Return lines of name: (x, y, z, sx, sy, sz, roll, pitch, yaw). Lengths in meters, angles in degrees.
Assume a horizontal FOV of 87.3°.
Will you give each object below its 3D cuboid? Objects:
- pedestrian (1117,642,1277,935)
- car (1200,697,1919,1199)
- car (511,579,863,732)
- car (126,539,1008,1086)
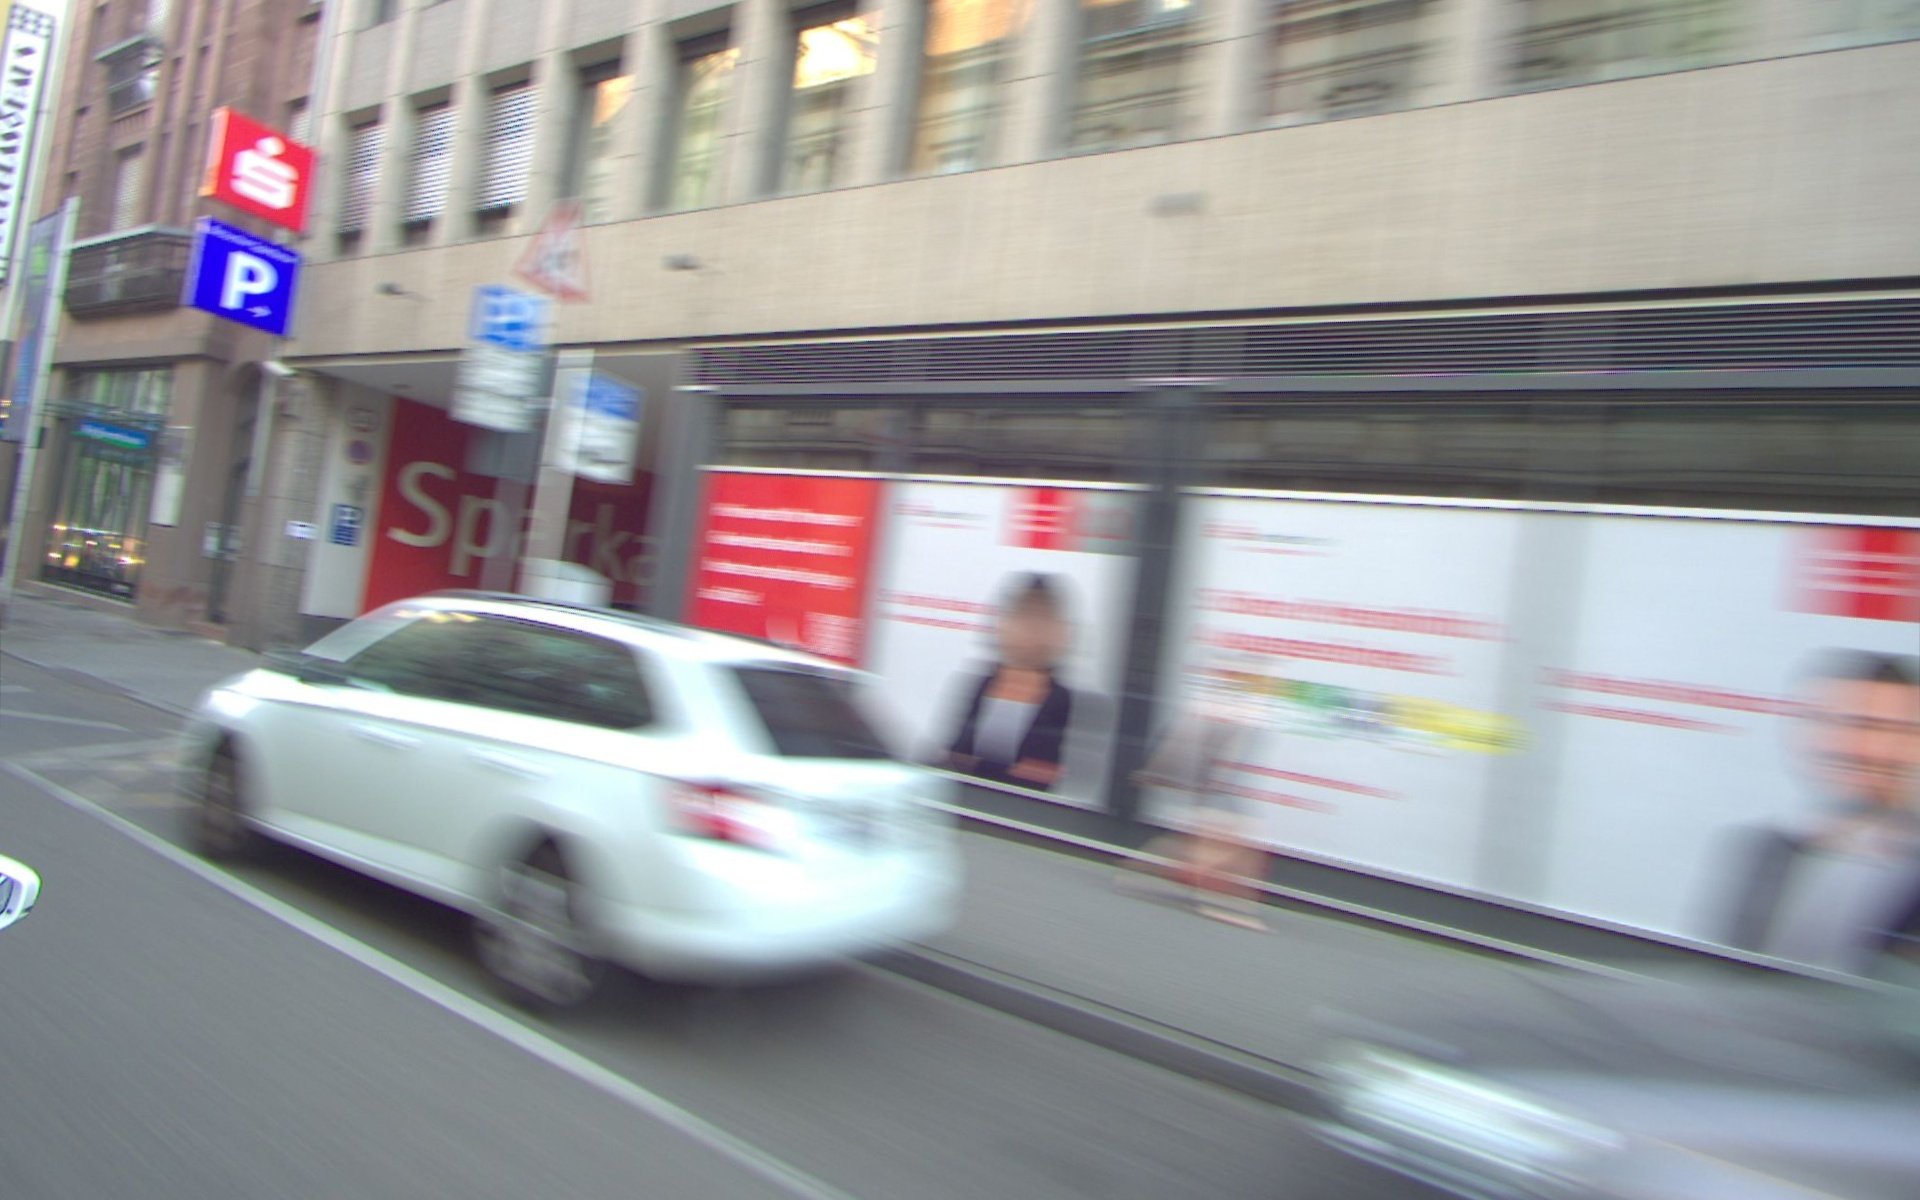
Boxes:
pedestrian: (1.501, 1.138, 6.339, 0.639, 1.655, 0.649, 7, 0, 30)
car: (2.850, 1.252, 1.831, 4.370, 1.463, 1.662, 6, -4, 30)
car: (-3.414, 0.852, 13.521, 1.885, 1.517, 4.416, 6, -4, 30)
car: (-2.093, 0.702, 4.961, 4.236, 1.463, 1.662, 6, -4, 31)
